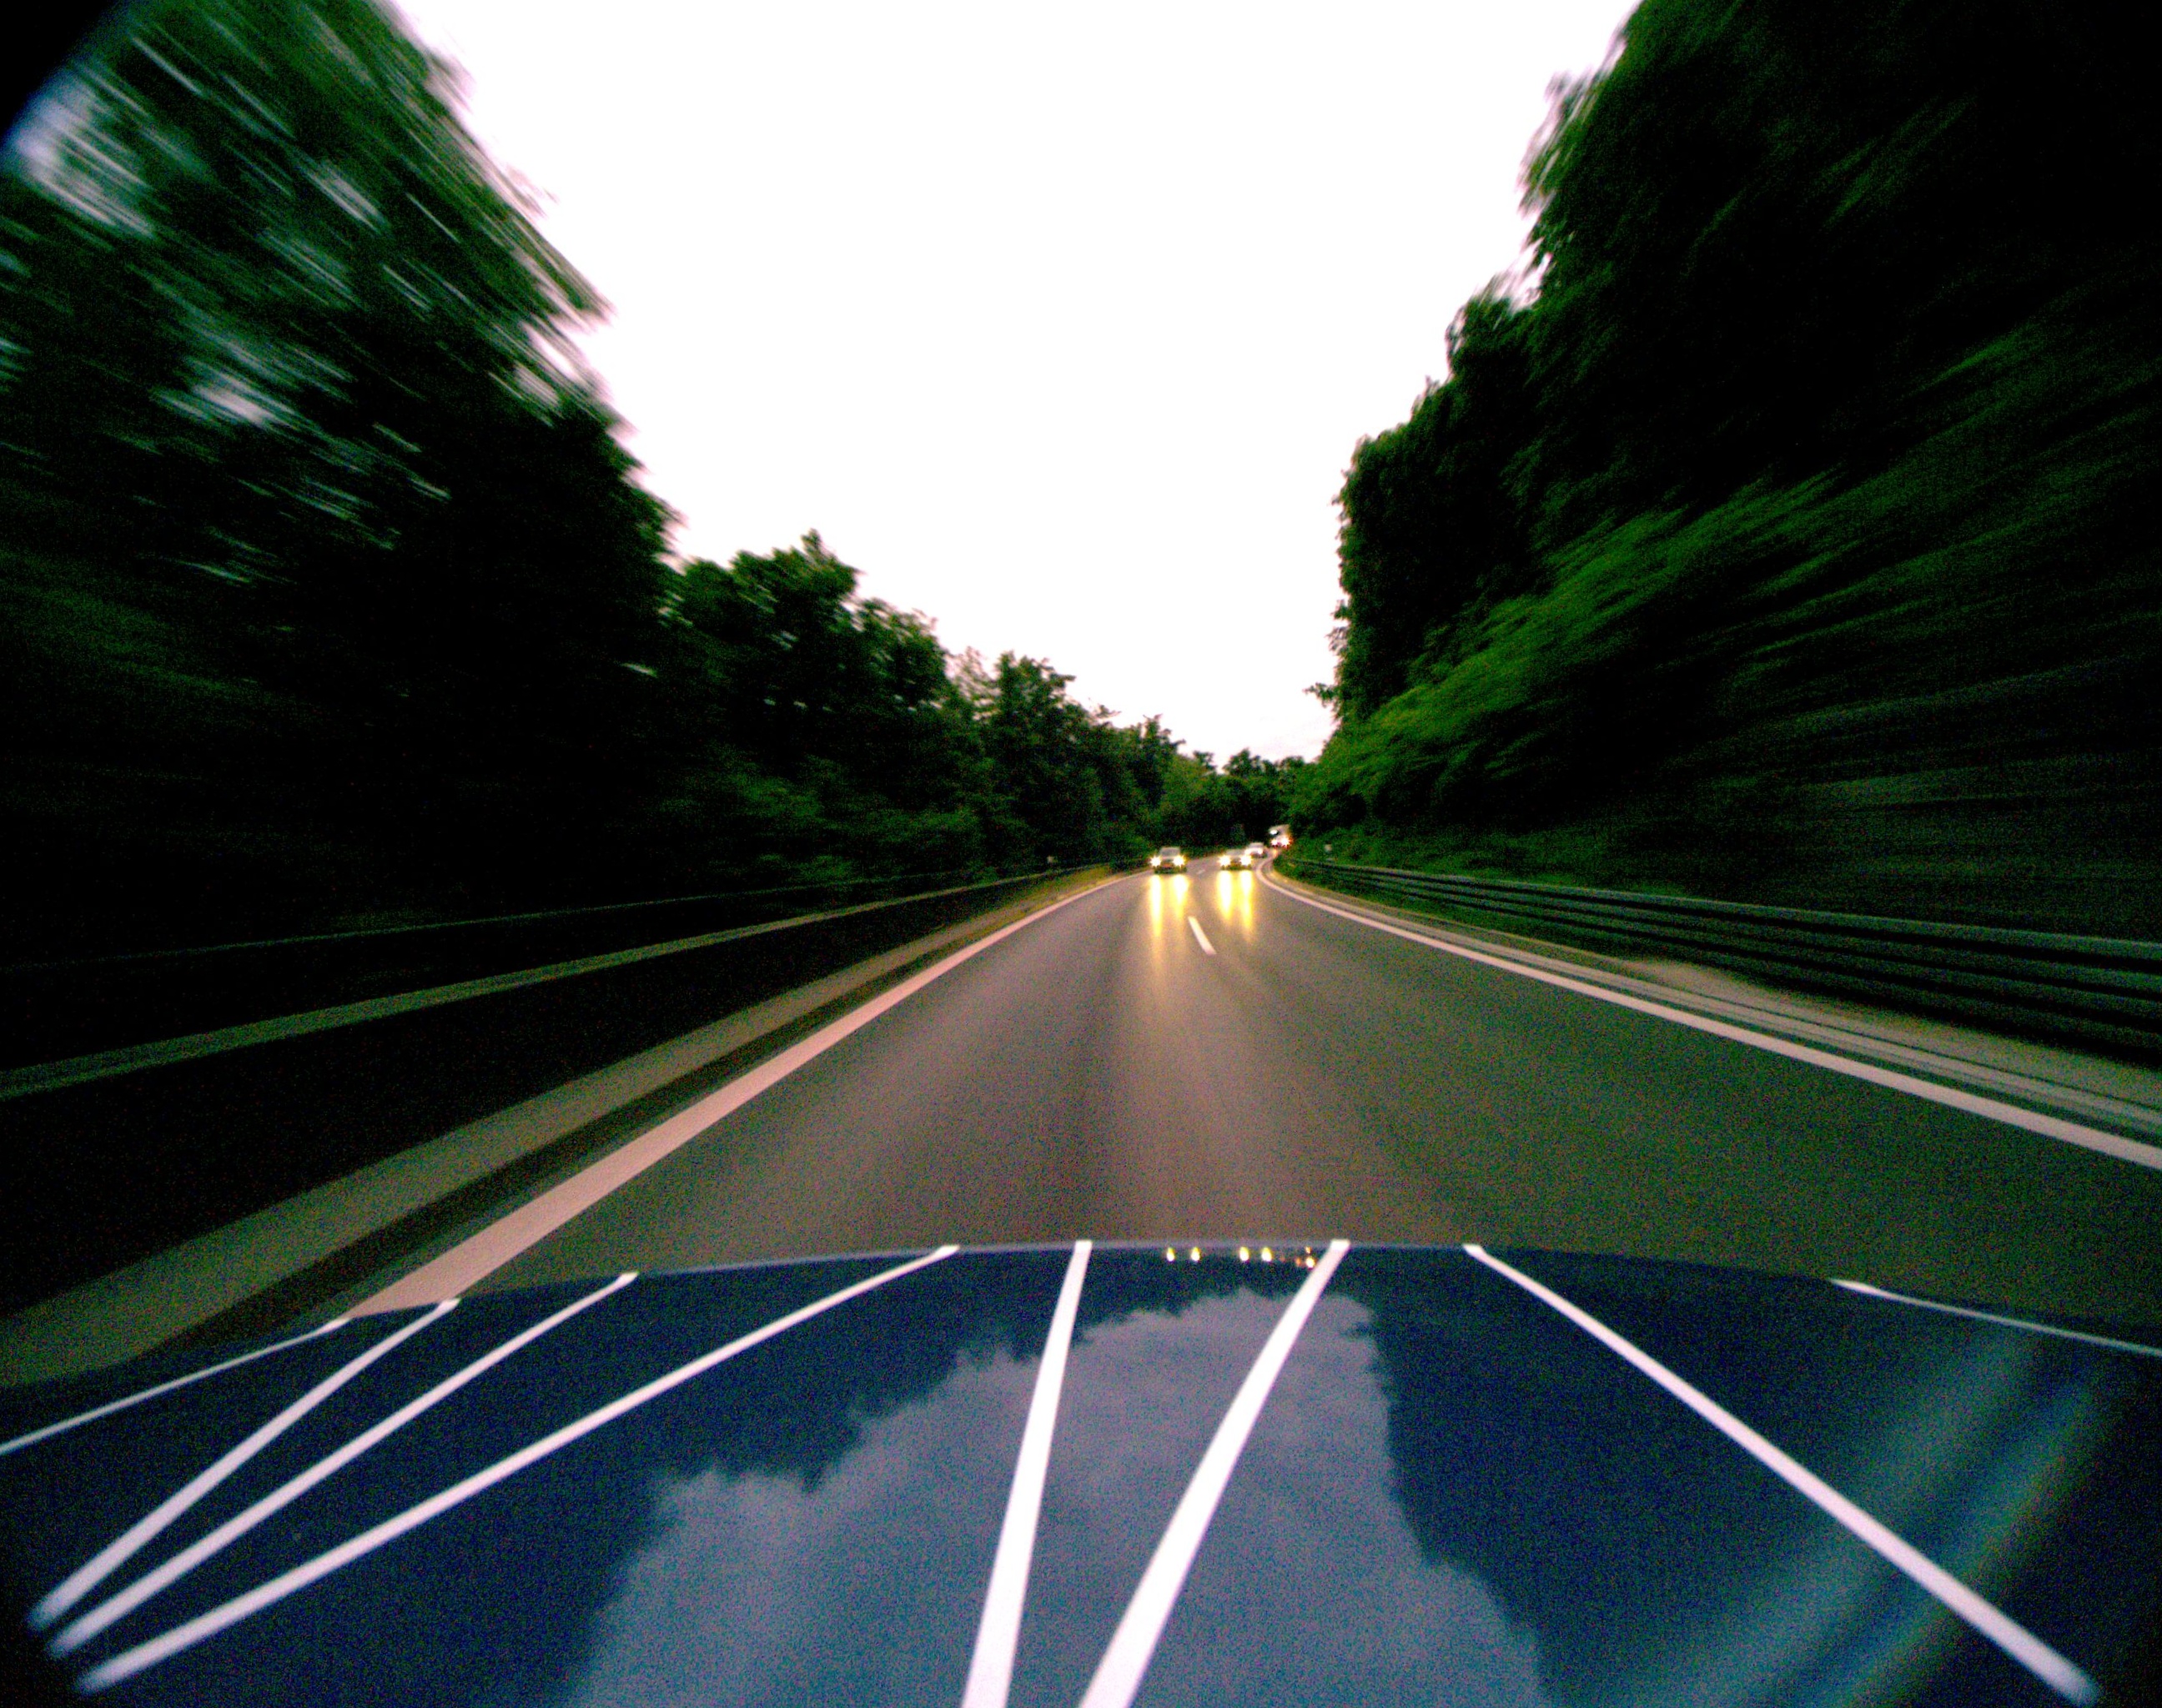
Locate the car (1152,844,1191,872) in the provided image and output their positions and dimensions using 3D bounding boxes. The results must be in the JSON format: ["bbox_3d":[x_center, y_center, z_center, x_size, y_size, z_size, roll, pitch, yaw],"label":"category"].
[{"bbox_3d":[5.909,0.241,49.281,1.997,1.630,4.003,-3,0,13],"label":"car"}]

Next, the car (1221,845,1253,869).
[{"bbox_3d":[10.732,0.186,52.054,1.996,1.499,4.004,-2,1,14],"label":"car"}]

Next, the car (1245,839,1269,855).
[{"bbox_3d":[18.080,-0.719,77.992,1.996,1.499,4.004,-3,0,17],"label":"car"}]

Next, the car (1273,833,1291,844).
[{"bbox_3d":[29.896,-2.290,112.842,1.995,1.608,4.006,-2,0,22],"label":"car"}]
